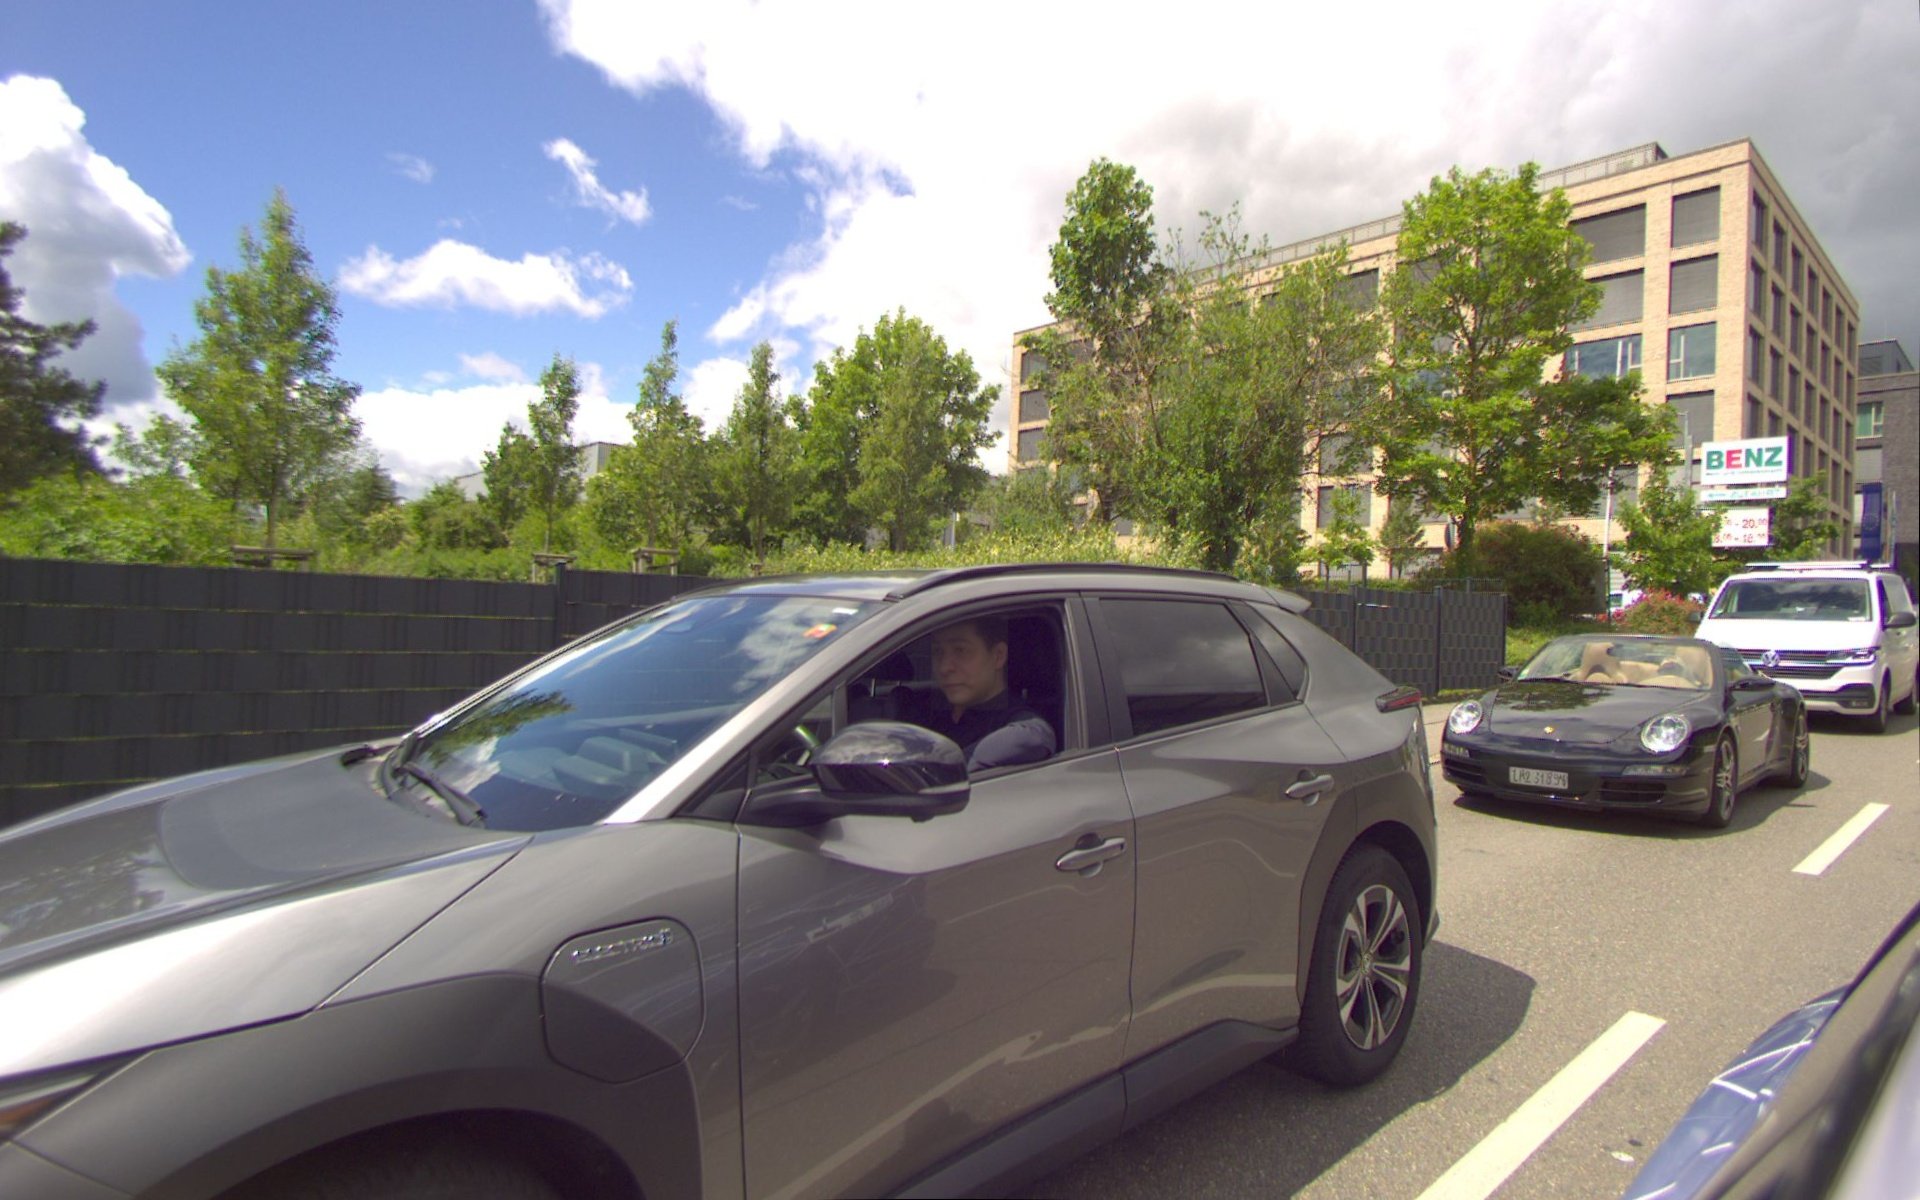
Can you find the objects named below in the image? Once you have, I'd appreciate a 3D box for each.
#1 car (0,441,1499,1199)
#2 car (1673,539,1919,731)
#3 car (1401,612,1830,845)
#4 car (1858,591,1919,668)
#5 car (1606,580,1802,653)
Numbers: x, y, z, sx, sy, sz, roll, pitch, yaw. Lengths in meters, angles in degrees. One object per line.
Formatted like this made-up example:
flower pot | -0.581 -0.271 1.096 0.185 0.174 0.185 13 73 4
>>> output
car | -0.368 0.635 2.966 4.501 1.649 1.997 0 1 -42
car | 11.301 0.368 13.309 4.677 2.075 2.087 0 0 -41
car | 5.311 0.785 7.999 3.967 1.310 1.823 0 0 -41
car | 20.241 0.572 21.063 3.930 1.481 1.817 0 2 -41
car | 19.944 0.387 27.228 1.793 1.754 3.991 0 2 -44
